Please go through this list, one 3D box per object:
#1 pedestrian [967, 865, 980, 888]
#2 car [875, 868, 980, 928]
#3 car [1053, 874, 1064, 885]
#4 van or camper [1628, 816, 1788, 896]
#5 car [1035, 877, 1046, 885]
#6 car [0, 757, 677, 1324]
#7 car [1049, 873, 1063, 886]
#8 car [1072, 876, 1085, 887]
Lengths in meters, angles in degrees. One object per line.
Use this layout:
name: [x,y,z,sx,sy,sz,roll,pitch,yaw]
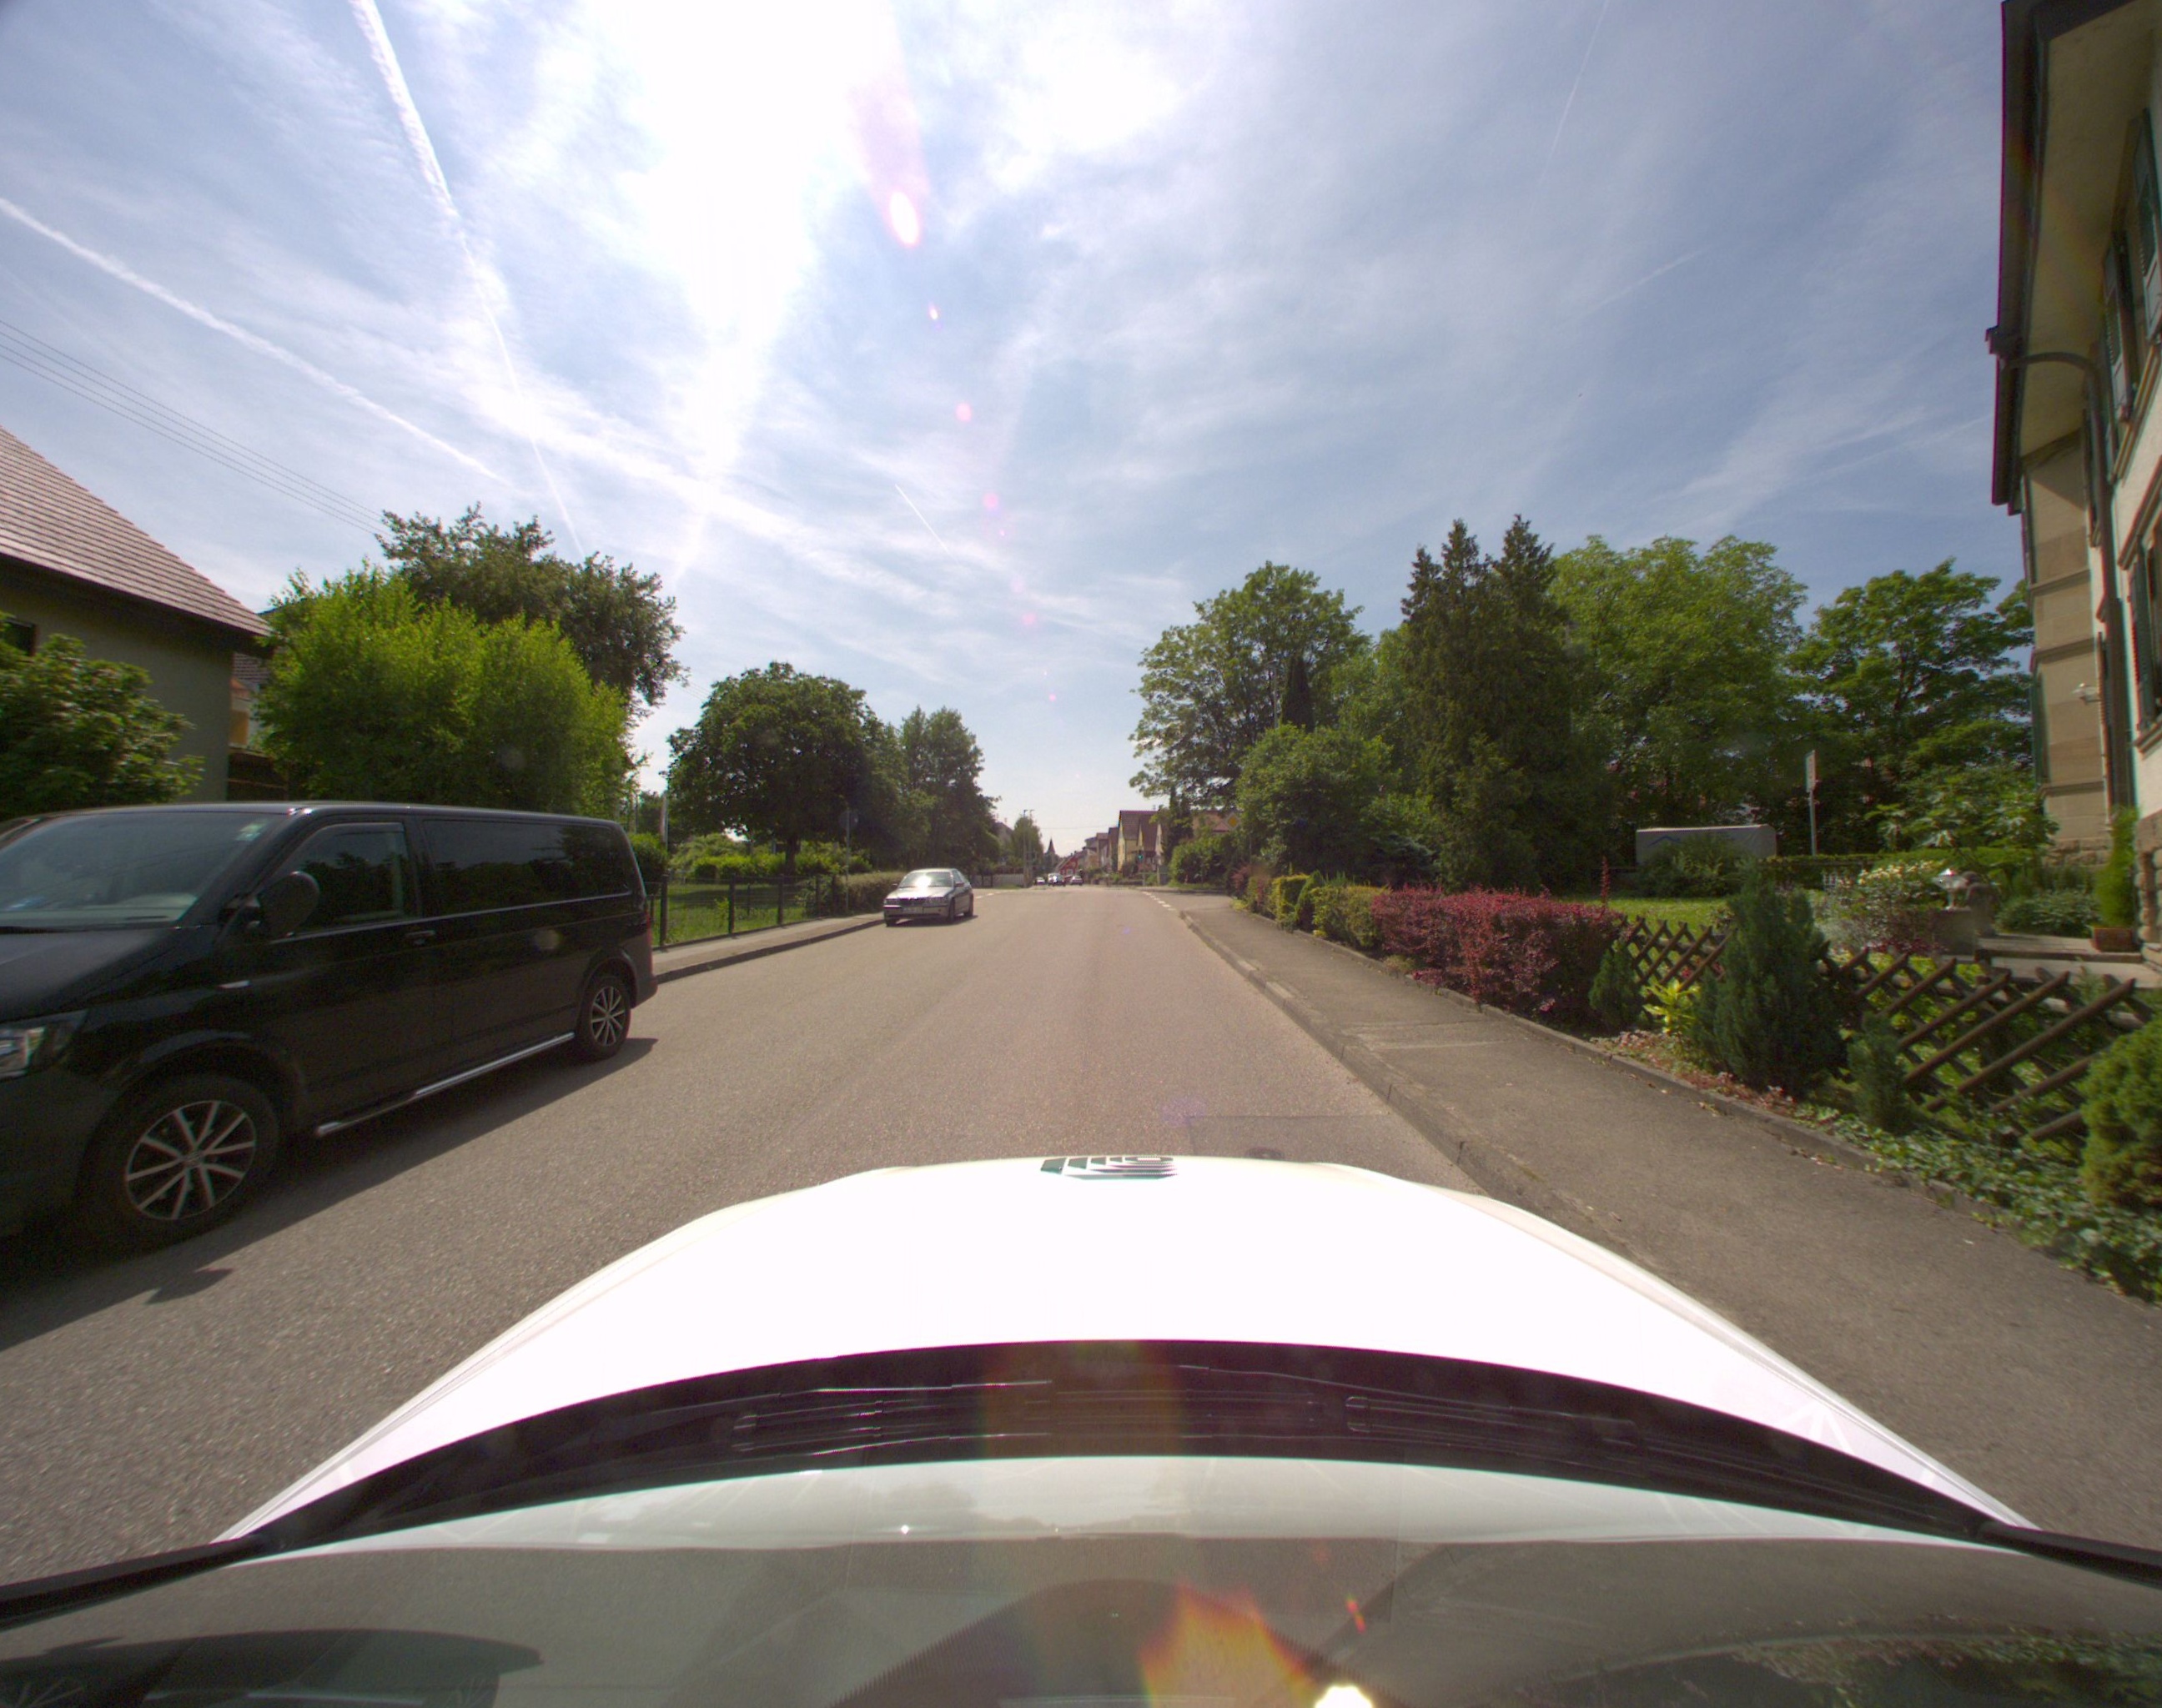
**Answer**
pedestrian: [-8.493,1.813,64.320,0.729,1.778,0.693,-3,-4,20]
car: [-3.983,1.102,21.848,1.773,1.394,4.411,-2,-1,2]
car: [-3.211,3.570,116.041,1.530,1.541,4.300,-1,-1,-2]
van or camper: [18.389,0.144,23.973,1.828,2.141,3.349,4,-4,-38]
car: [-8.401,5.630,169.830,2.103,1.561,4.312,-1,-2,0]
car: [-4.627,0.660,4.916,1.890,1.920,4.869,-2,0,0]
car: [-3.895,4.049,127.879,1.876,1.965,4.893,-2,-2,-5]
car: [-0.419,4.561,135.280,1.986,1.603,4.000,-1,0,1]
